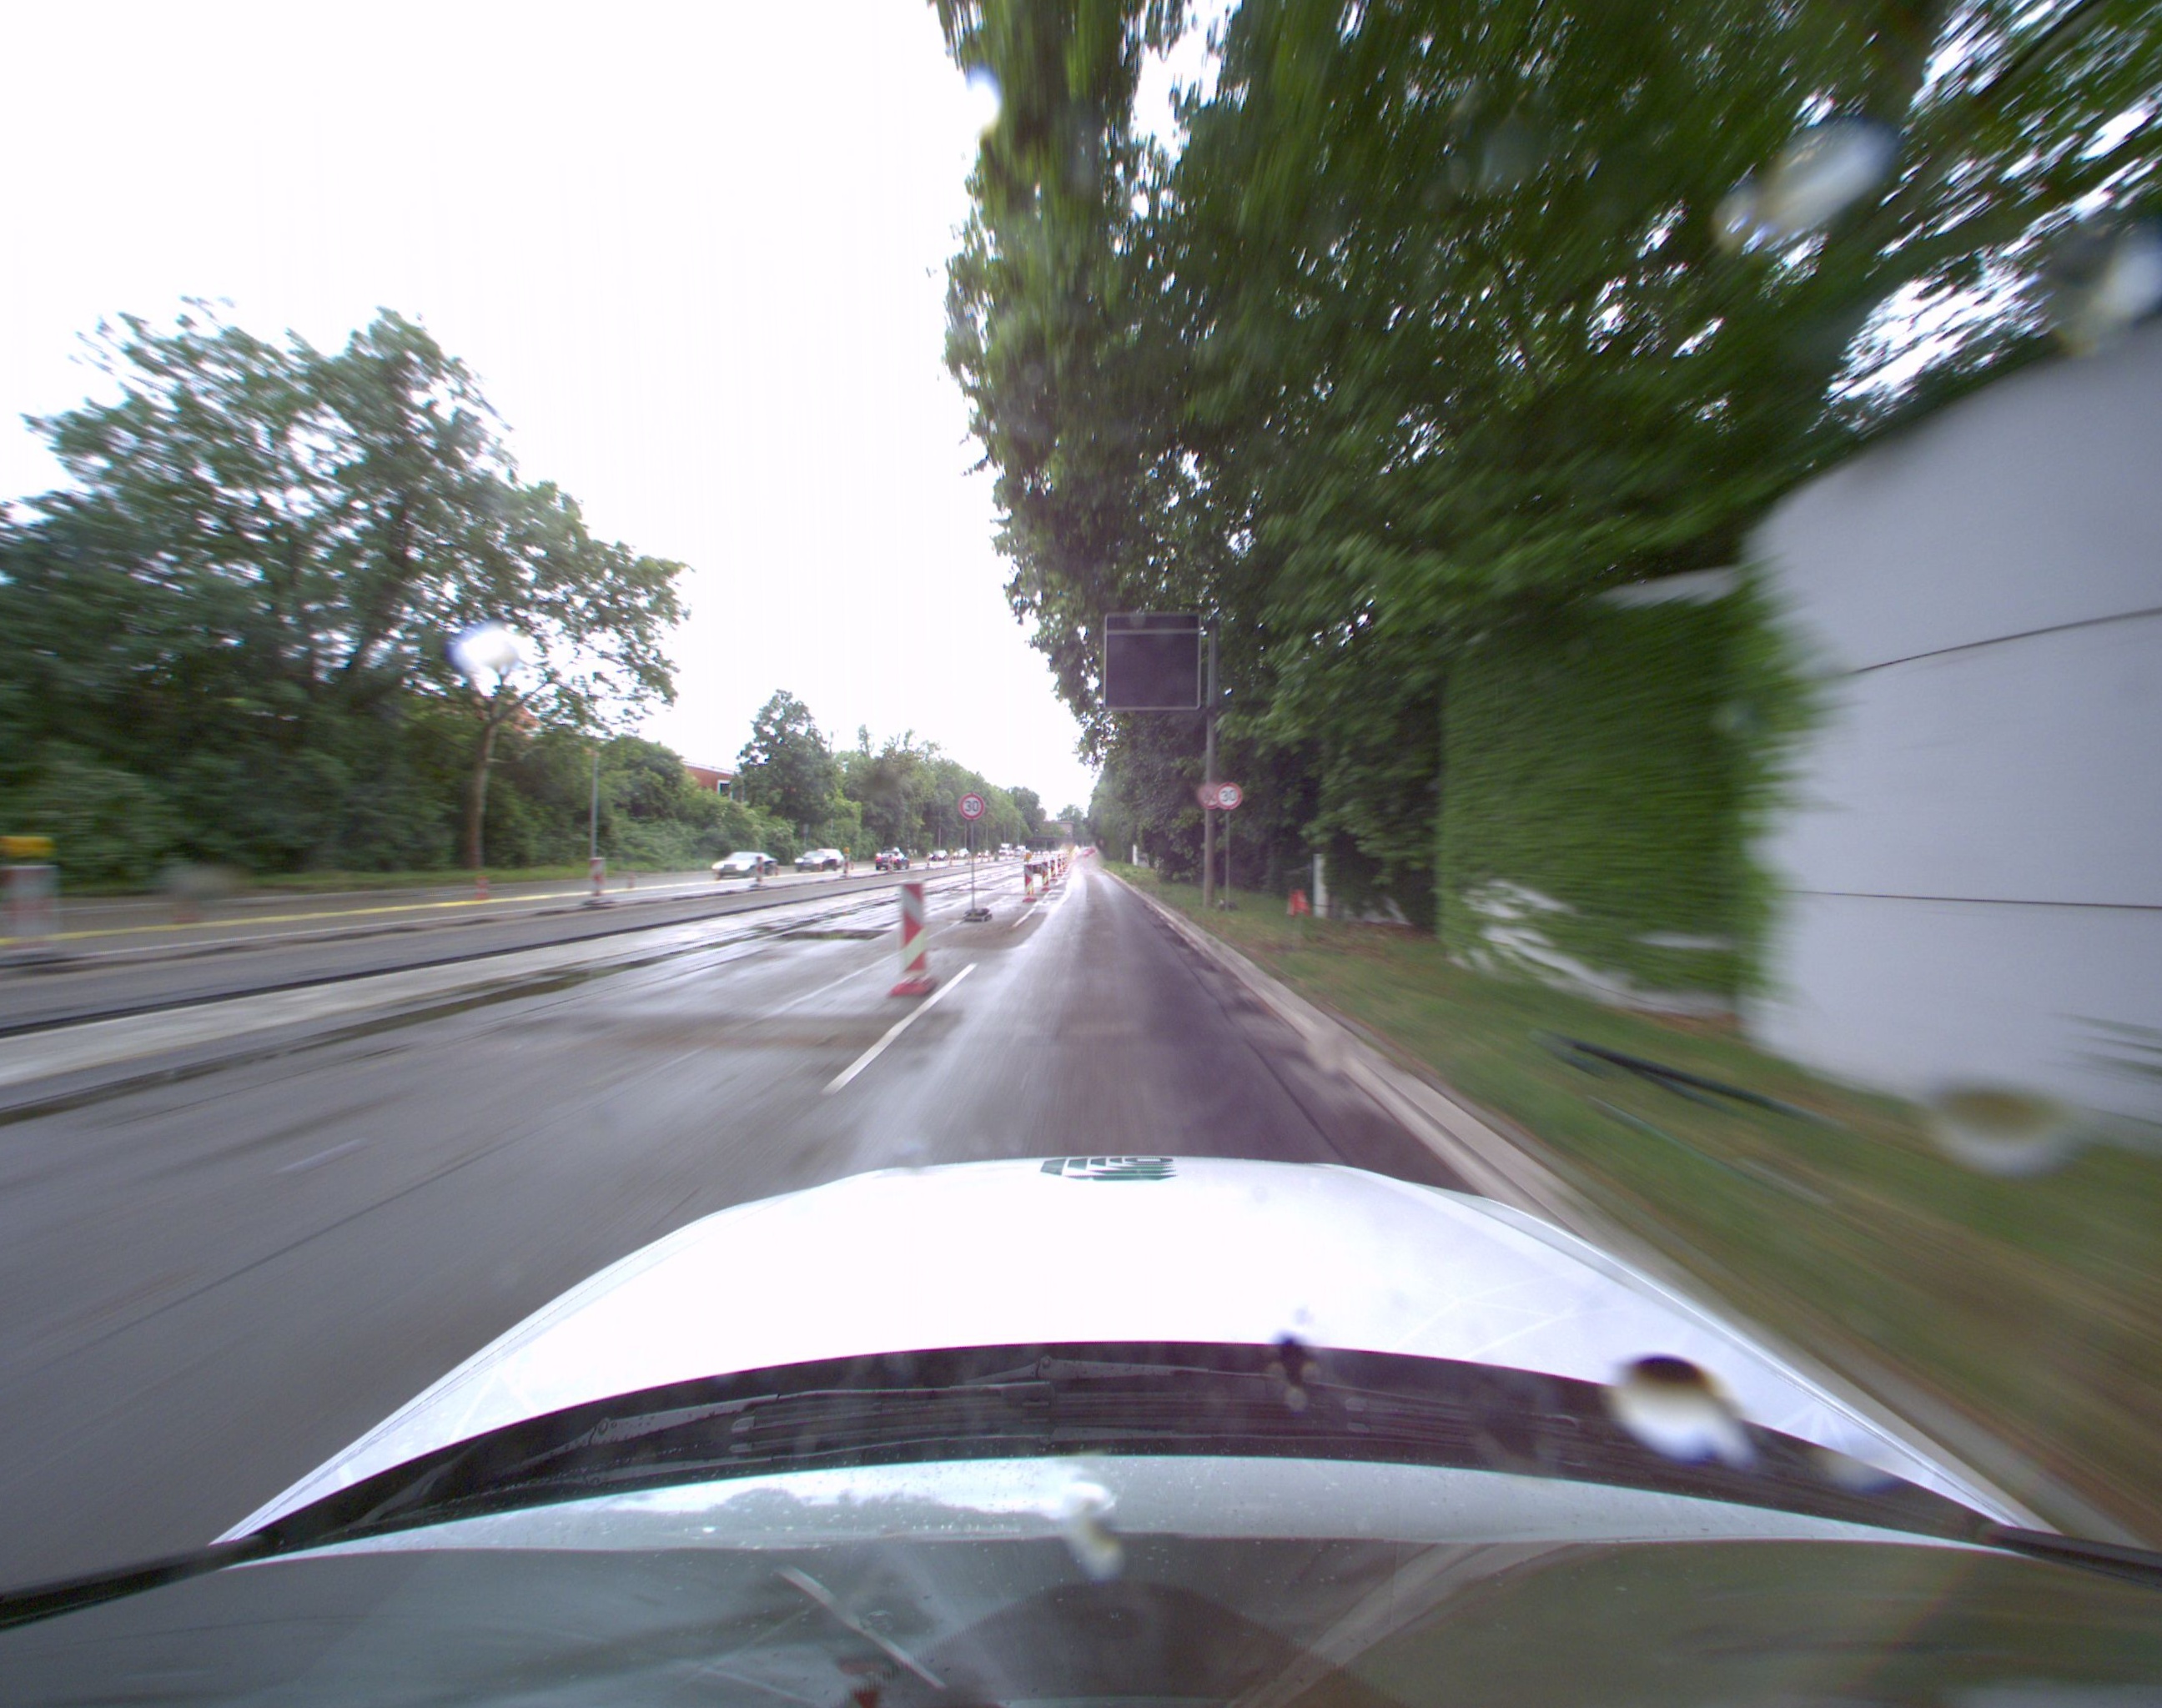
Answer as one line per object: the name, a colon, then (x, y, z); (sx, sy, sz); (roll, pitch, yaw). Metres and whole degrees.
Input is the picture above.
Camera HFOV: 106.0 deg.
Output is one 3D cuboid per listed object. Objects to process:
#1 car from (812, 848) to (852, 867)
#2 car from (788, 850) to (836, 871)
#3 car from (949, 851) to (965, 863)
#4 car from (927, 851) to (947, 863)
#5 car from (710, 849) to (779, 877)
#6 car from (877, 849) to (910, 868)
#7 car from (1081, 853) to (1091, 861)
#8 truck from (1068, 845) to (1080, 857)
car: (-20.137, 0.257, 66.101); (1.812, 1.419, 4.602); (1, 0, 0)
car: (-17.973, 0.416, 54.573); (1.812, 1.355, 4.204); (-1, 0, 0)
car: (-18.485, 0.452, 121.651); (1.729, 1.722, 4.492); (1, 0, -1)
car: (-18.364, 0.369, 104.043); (1.755, 1.483, 4.898); (1, 0, -1)
car: (-17.574, 0.452, 42.758); (1.812, 1.355, 4.389); (-1, 0, 0)
car: (-14.393, 0.353, 62.774); (1.602, 1.404, 4.040); (1, 0, 0)
car: (0.896, 0.475, 137.560); (1.692, 1.336, 3.491); (-1, 0, 0)
truck: (-1.915, -0.890, 238.869); (3.249, 3.497, 13.868); (1, 0, 0)
